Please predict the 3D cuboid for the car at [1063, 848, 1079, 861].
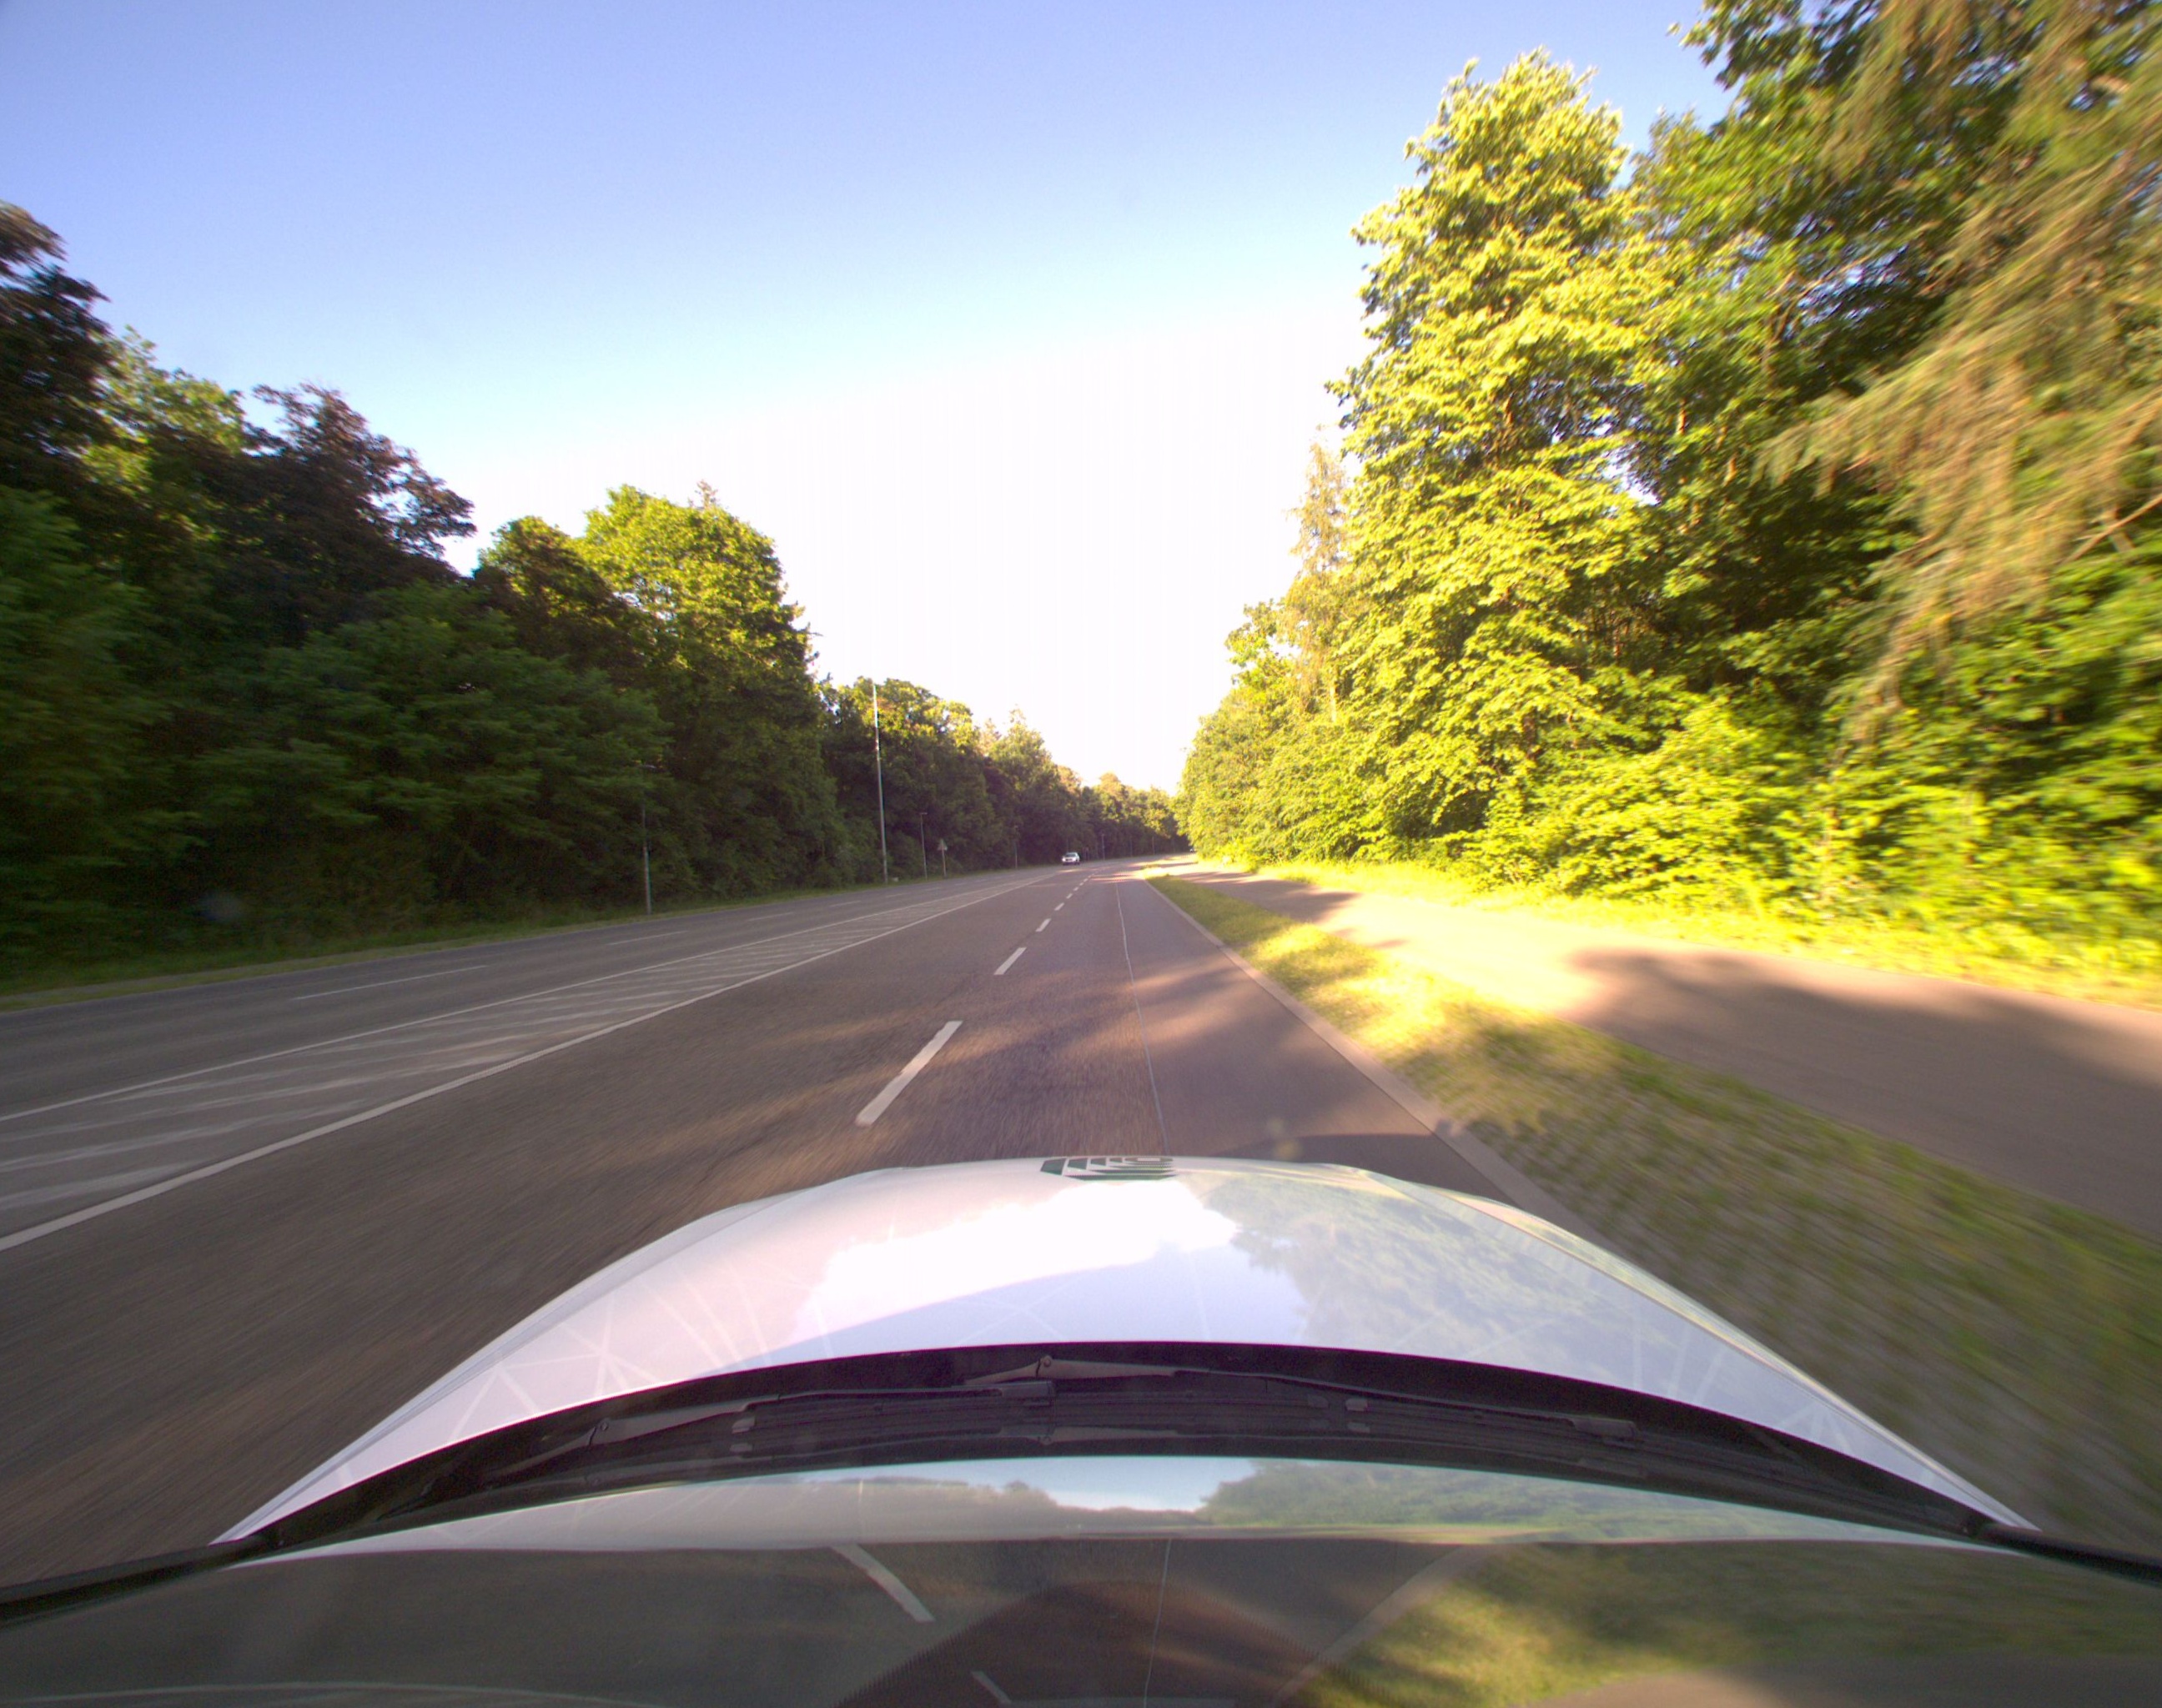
[{"bbox_3d":[-1.292,0.091,108.704,1.900,1.663,4.736,-2,0,2],"label":"car"}]
